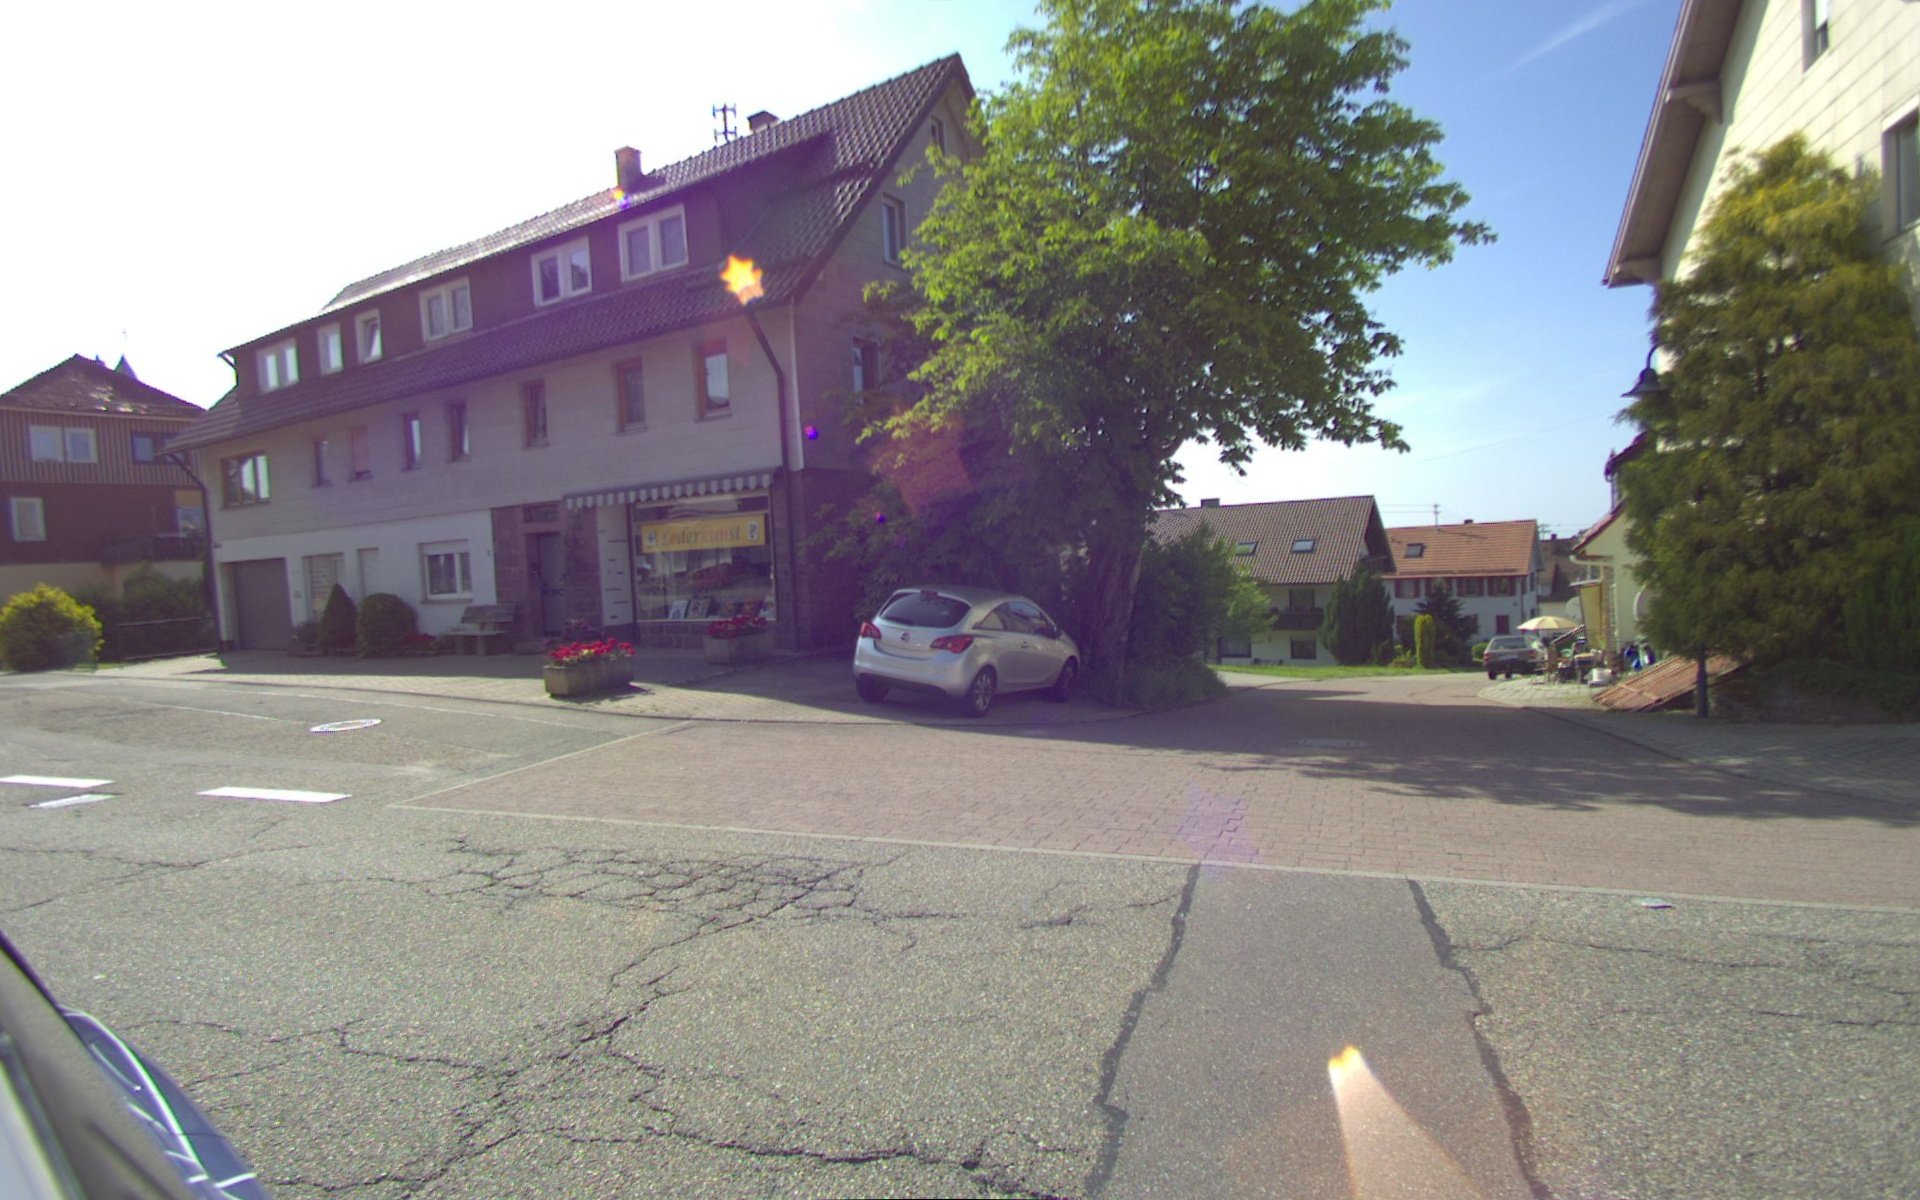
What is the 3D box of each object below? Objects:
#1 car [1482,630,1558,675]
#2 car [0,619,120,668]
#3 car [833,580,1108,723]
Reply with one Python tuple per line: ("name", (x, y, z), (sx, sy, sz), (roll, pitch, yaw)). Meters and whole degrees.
("car", (19.492, 1.821, 35.132), (1.761, 1.476, 3.950), (-3, -4, 37))
("car", (-36.935, 1.732, 40.848), (1.793, 1.522, 4.272), (0, 4, 31))
("car", (0.281, 0.527, 13.103), (1.813, 1.465, 3.729), (4, 3, 33))
